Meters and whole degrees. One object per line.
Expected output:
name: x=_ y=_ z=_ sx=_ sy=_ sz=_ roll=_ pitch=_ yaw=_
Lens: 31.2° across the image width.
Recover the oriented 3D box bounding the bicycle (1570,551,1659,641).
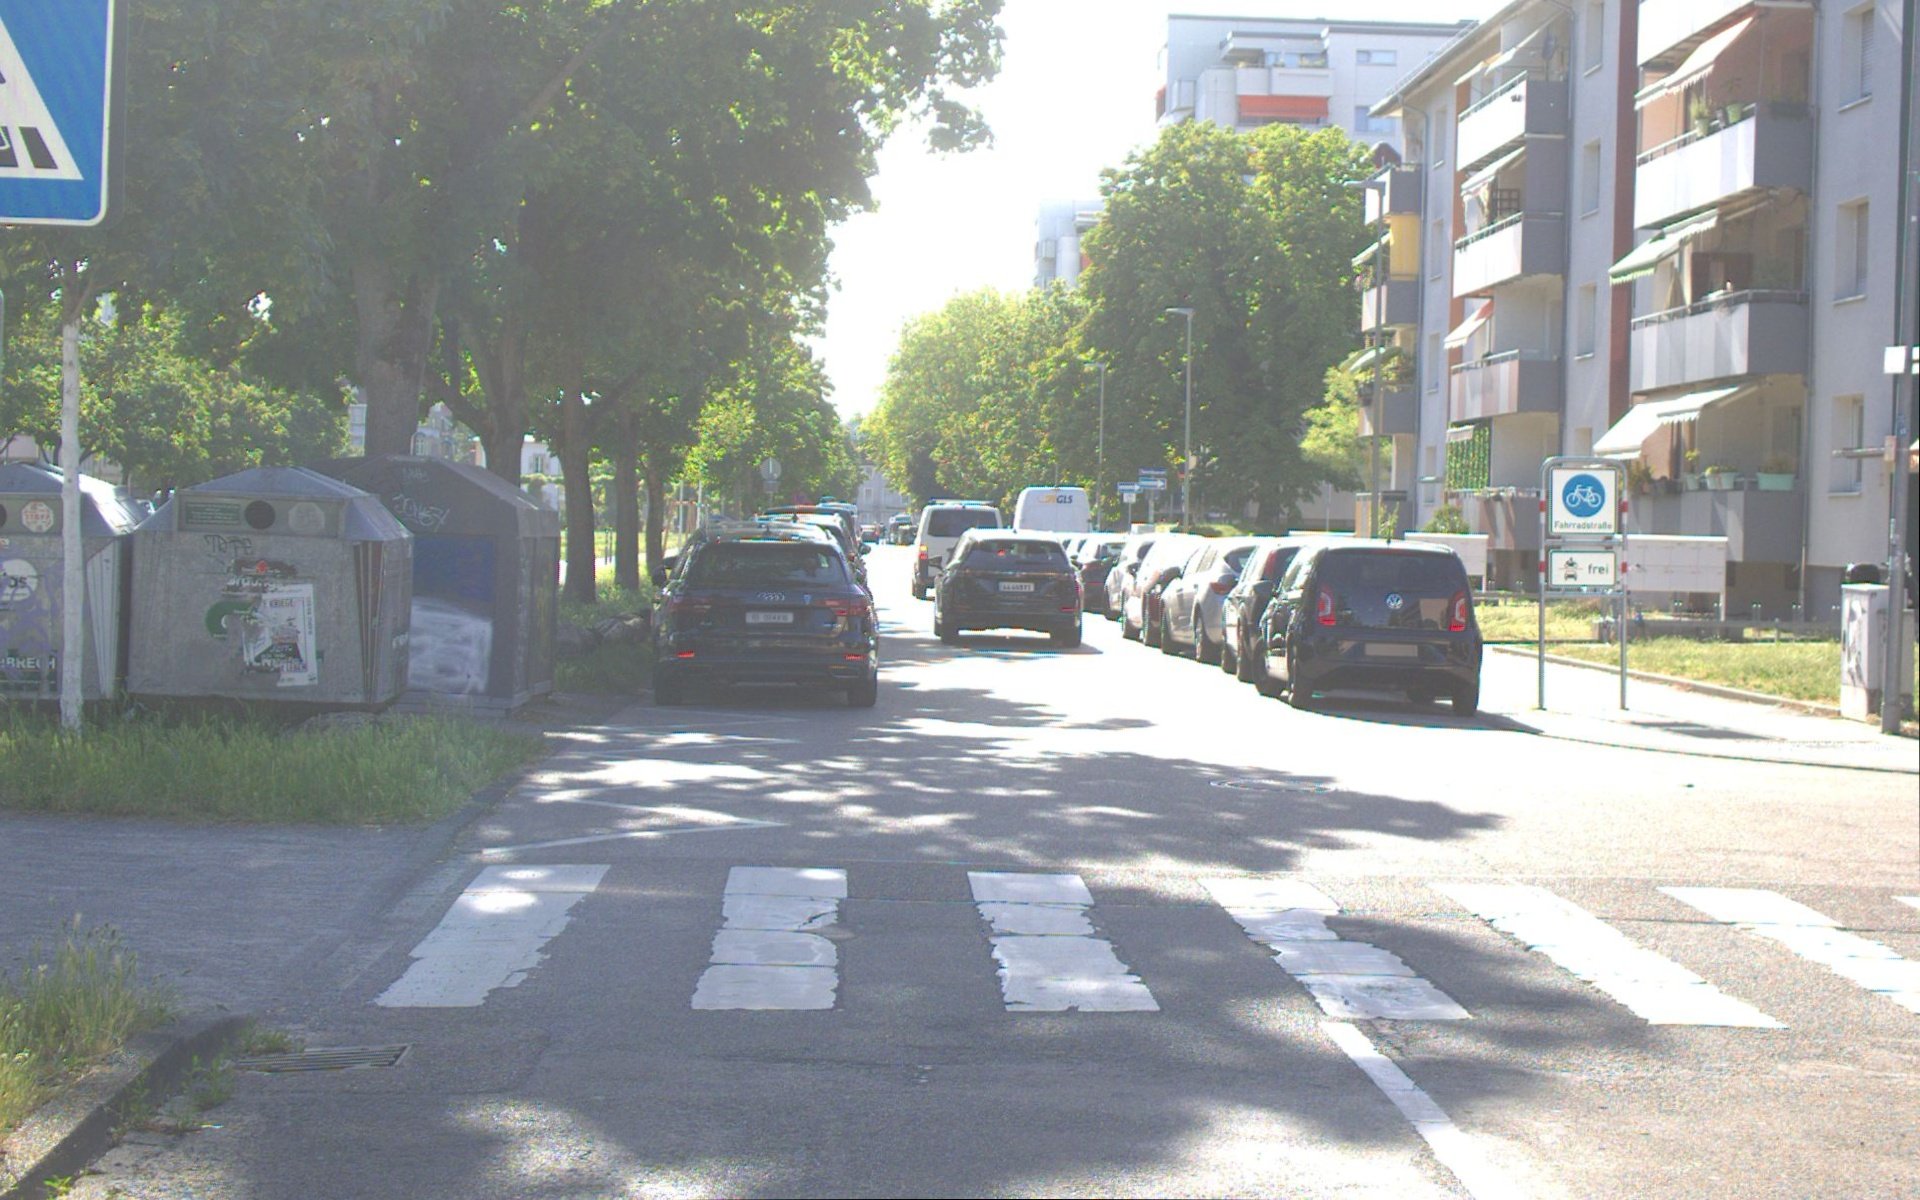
bicycle: x=8.314 y=-0.062 z=43.722 sx=0.720 sy=1.074 sz=1.897 roll=2 pitch=1 yaw=0

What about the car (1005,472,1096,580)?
car: x=2.319 y=-1.949 z=90.042 sx=2.142 sy=2.703 sz=6.842 roll=0 pitch=1 yaw=-1

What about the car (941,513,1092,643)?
car: x=0.691 y=-0.321 z=44.684 sx=1.779 sy=1.526 sz=4.000 roll=3 pitch=1 yaw=-1

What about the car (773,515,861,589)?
car: x=-2.991 y=-1.018 z=71.148 sx=1.755 sy=1.487 sz=4.669 roll=0 pitch=1 yaw=-3

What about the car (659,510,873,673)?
car: x=-2.014 y=-0.144 z=34.756 sx=1.993 sy=1.511 sz=5.159 roll=0 pitch=2 yaw=-4

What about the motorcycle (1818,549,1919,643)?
motorcycle: x=11.699 y=-0.060 z=43.950 sx=0.582 sy=1.147 sz=2.038 roll=1 pitch=1 yaw=-11

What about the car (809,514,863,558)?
car: x=-4.170 y=-2.149 z=115.986 sx=1.748 sy=1.420 sz=3.916 roll=-1 pitch=1 yaw=-1

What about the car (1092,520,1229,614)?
car: x=3.344 y=-0.580 z=58.031 sx=1.747 sy=1.494 sz=3.862 roll=1 pitch=1 yaw=-5

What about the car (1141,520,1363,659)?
car: x=3.471 y=-0.170 z=41.715 sx=1.873 sy=1.528 sz=4.494 roll=2 pitch=1 yaw=-5

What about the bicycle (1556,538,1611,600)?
bicycle: x=11.176 y=-0.560 z=61.626 sx=0.523 sy=1.067 sz=2.010 roll=-1 pitch=1 yaw=-3

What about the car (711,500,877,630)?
car: x=-2.138 y=-0.495 z=45.555 sx=2.026 sy=1.620 sz=4.758 roll=0 pitch=1 yaw=-1

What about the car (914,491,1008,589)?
car: x=0.003 y=-1.258 z=71.534 sx=1.894 sy=1.984 sz=4.010 roll=0 pitch=1 yaw=-1

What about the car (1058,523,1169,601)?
car: x=2.940 y=-0.761 z=66.604 sx=1.699 sy=1.430 sz=4.472 roll=0 pitch=1 yaw=-3

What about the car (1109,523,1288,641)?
car: x=3.203 y=-0.292 z=47.096 sx=1.843 sy=1.467 sz=5.066 roll=2 pitch=1 yaw=-3

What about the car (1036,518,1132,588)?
car: x=2.761 y=-1.078 z=77.408 sx=1.878 sy=1.470 sz=4.141 roll=1 pitch=1 yaw=-2

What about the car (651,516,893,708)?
car: x=-1.619 y=0.035 z=28.996 sx=1.835 sy=1.447 sz=4.969 roll=1 pitch=1 yaw=-4

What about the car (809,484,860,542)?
car: x=-5.583 y=-3.866 z=153.066 sx=2.098 sy=2.487 sz=4.127 roll=2 pitch=1 yaw=-1

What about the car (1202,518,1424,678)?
car: x=3.636 y=-0.071 z=36.157 sx=1.769 sy=1.524 sz=4.558 roll=2 pitch=1 yaw=-1

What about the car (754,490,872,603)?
car: x=-2.451 y=-0.892 z=57.894 sx=1.864 sy=1.778 sz=4.992 roll=1 pitch=1 yaw=-2

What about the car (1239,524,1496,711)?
car: x=3.567 y=0.102 z=30.681 sx=1.658 sy=1.469 sz=3.793 roll=3 pitch=1 yaw=-2
